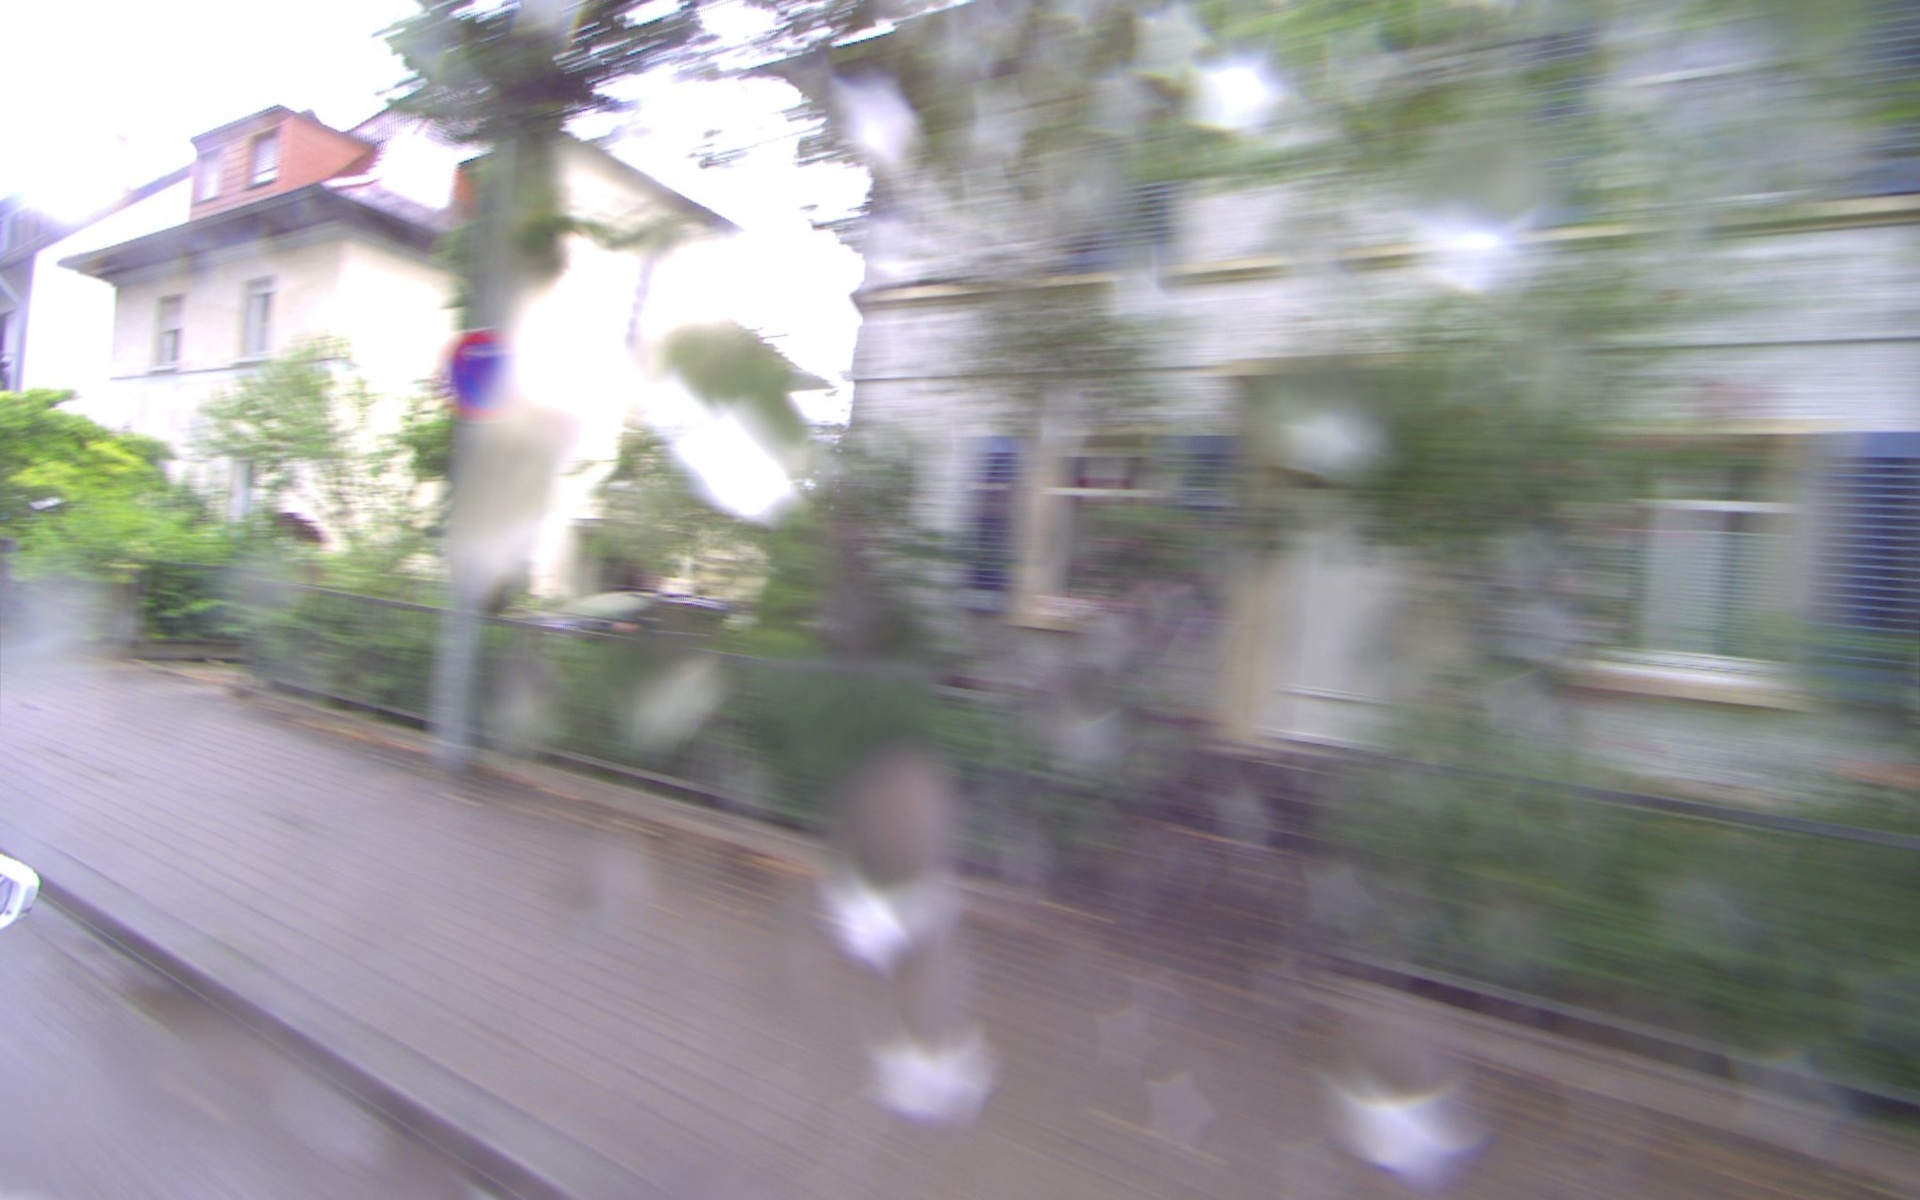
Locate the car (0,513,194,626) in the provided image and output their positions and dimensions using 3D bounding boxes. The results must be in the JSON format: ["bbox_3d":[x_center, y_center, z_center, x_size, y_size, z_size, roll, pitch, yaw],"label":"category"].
[{"bbox_3d":[-14.463,-0.554,15.406,3.947,1.475,1.762,6,0,-24],"label":"car"}]

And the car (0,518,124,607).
[{"bbox_3d":[-17.294,-0.790,17.072,4.324,1.381,1.910,6,-1,-24],"label":"car"}]

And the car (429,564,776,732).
[{"bbox_3d":[-4.658,0.742,13.684,1.793,1.595,3.998,5,-6,35],"label":"car"}]
